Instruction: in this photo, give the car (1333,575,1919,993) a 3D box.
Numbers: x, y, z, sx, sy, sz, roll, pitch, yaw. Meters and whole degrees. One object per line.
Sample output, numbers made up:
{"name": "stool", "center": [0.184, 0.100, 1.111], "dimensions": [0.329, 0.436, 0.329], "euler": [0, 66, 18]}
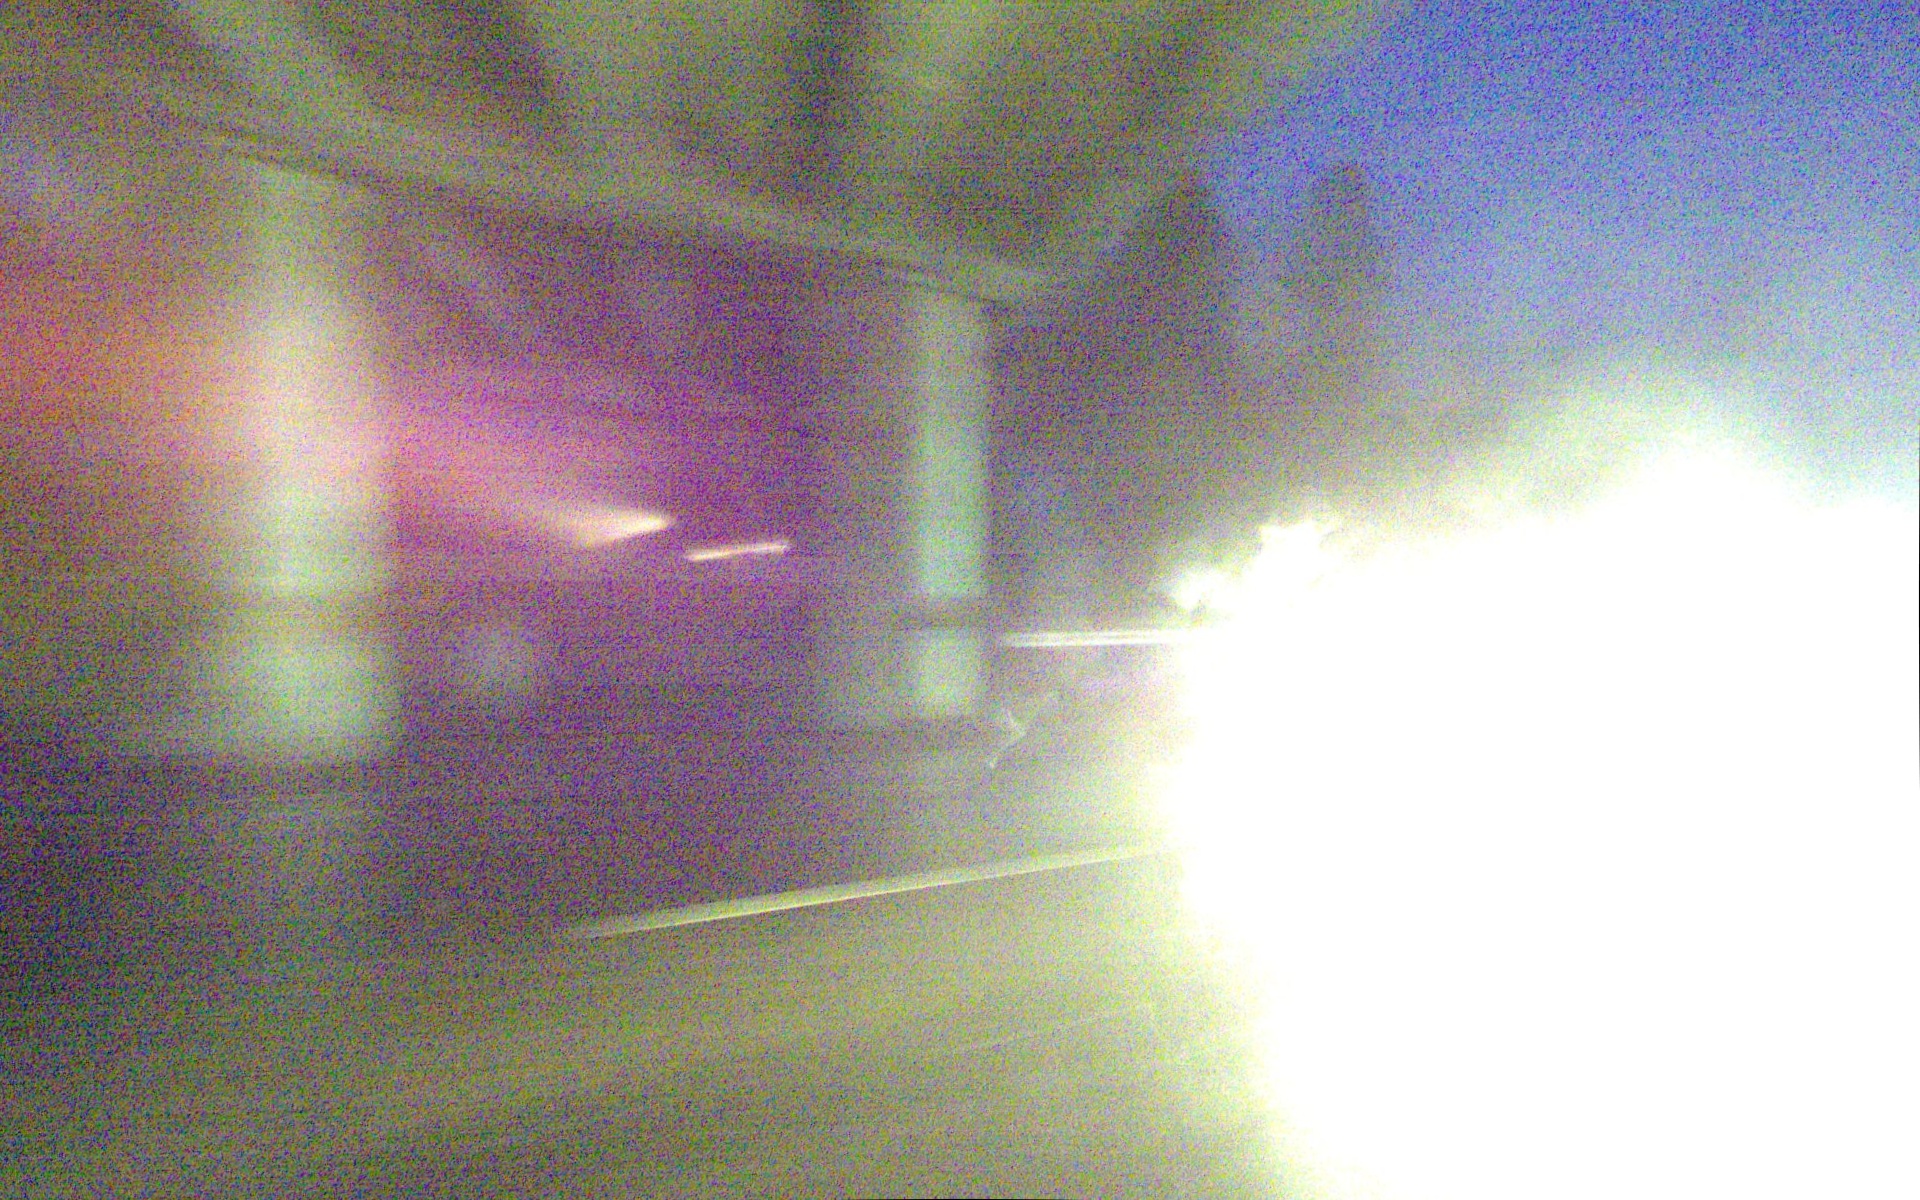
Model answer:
{"name": "car", "center": [4.198, 0.757, 5.761], "dimensions": [3.746, 1.666, 1.891], "euler": [1, 1, -30]}
